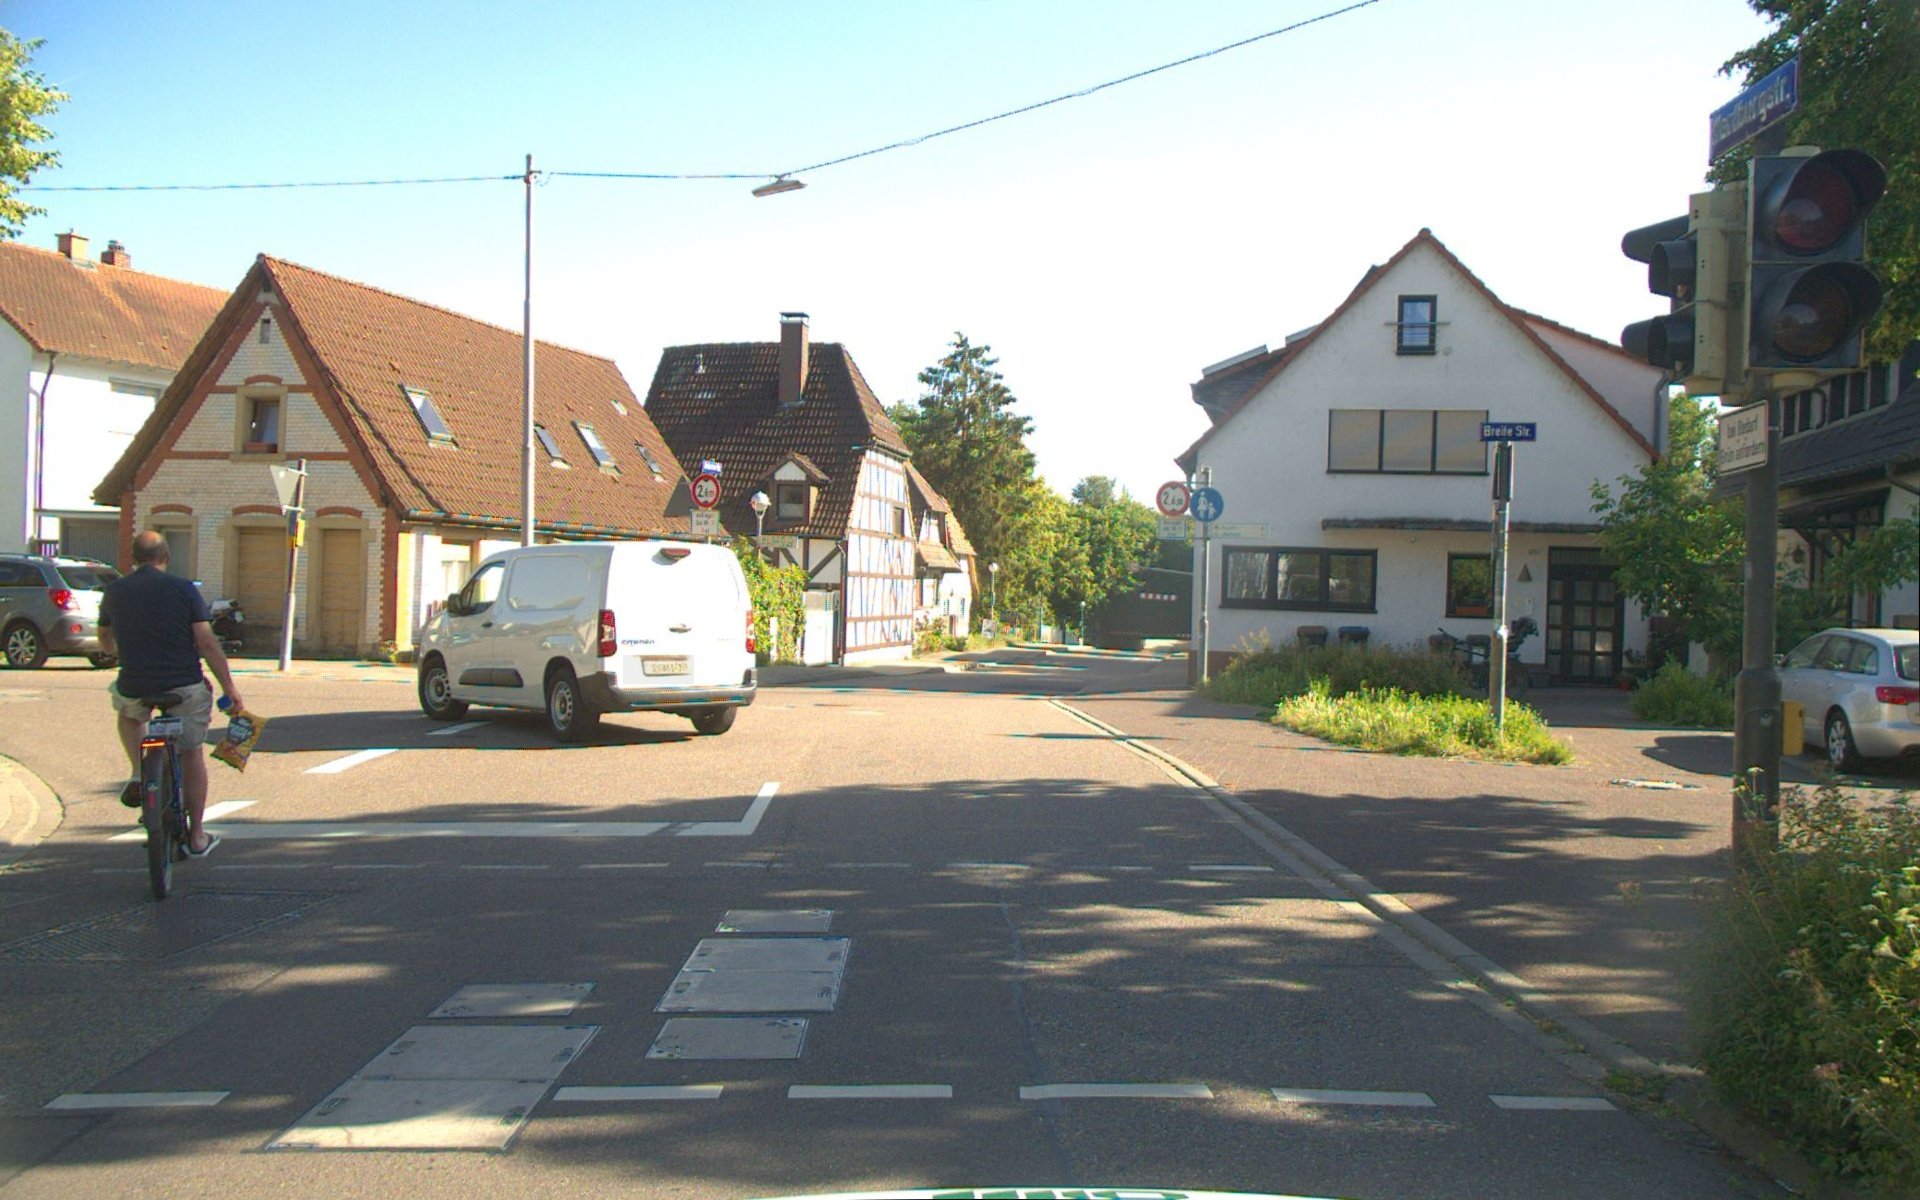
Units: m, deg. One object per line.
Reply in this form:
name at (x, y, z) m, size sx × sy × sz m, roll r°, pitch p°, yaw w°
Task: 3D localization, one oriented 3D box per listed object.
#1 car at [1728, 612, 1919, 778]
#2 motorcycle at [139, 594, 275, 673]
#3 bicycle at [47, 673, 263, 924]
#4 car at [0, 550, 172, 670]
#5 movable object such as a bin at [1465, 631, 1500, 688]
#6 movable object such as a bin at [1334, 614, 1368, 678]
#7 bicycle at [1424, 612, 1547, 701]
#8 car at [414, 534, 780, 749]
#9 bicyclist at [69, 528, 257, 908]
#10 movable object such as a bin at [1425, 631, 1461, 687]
car at (10.347, 0.970, 18.383) m, size 1.951 × 1.446 × 4.807 m, roll 2°, pitch 2°, yaw 8°
motorcycle at (-13.526, 0.587, 29.716) m, size 2.195 × 1.317 × 0.883 m, roll 1°, pitch 3°, yaw 18°
bicycle at (-4.049, 0.928, 8.484) m, size 0.763 × 0.956 × 2.277 m, roll -1°, pitch 1°, yaw -21°
car at (-14.915, 0.124, 26.161) m, size 4.131 × 1.755 × 1.946 m, roll 2°, pitch -1°, yaw 16°
movable object such as a bin at (9.566, 1.087, 30.299) m, size 0.487 × 0.994 × 0.594 m, roll 2°, pitch 0°, yaw 8°
movable object such as a bin at (7.237, 0.843, 30.618) m, size 0.515 × 1.142 × 0.749 m, roll 1°, pitch 0°, yaw 8°
bicycle at (8.198, 0.877, 25.862) m, size 1.700 × 1.306 × 0.701 m, roll 2°, pitch -1°, yaw 7°
car at (-3.821, 0.308, 16.805) m, size 1.943 × 1.880 × 4.500 m, roll 0°, pitch 1°, yaw -37°
bicyclist at (-4.046, 0.568, 8.459) m, size 0.753 × 1.820 × 0.848 m, roll 1°, pitch 0°, yaw -21°
movable object such as a bin at (8.882, 1.078, 30.449) m, size 0.518 × 1.000 × 0.670 m, roll 2°, pitch 0°, yaw 8°
